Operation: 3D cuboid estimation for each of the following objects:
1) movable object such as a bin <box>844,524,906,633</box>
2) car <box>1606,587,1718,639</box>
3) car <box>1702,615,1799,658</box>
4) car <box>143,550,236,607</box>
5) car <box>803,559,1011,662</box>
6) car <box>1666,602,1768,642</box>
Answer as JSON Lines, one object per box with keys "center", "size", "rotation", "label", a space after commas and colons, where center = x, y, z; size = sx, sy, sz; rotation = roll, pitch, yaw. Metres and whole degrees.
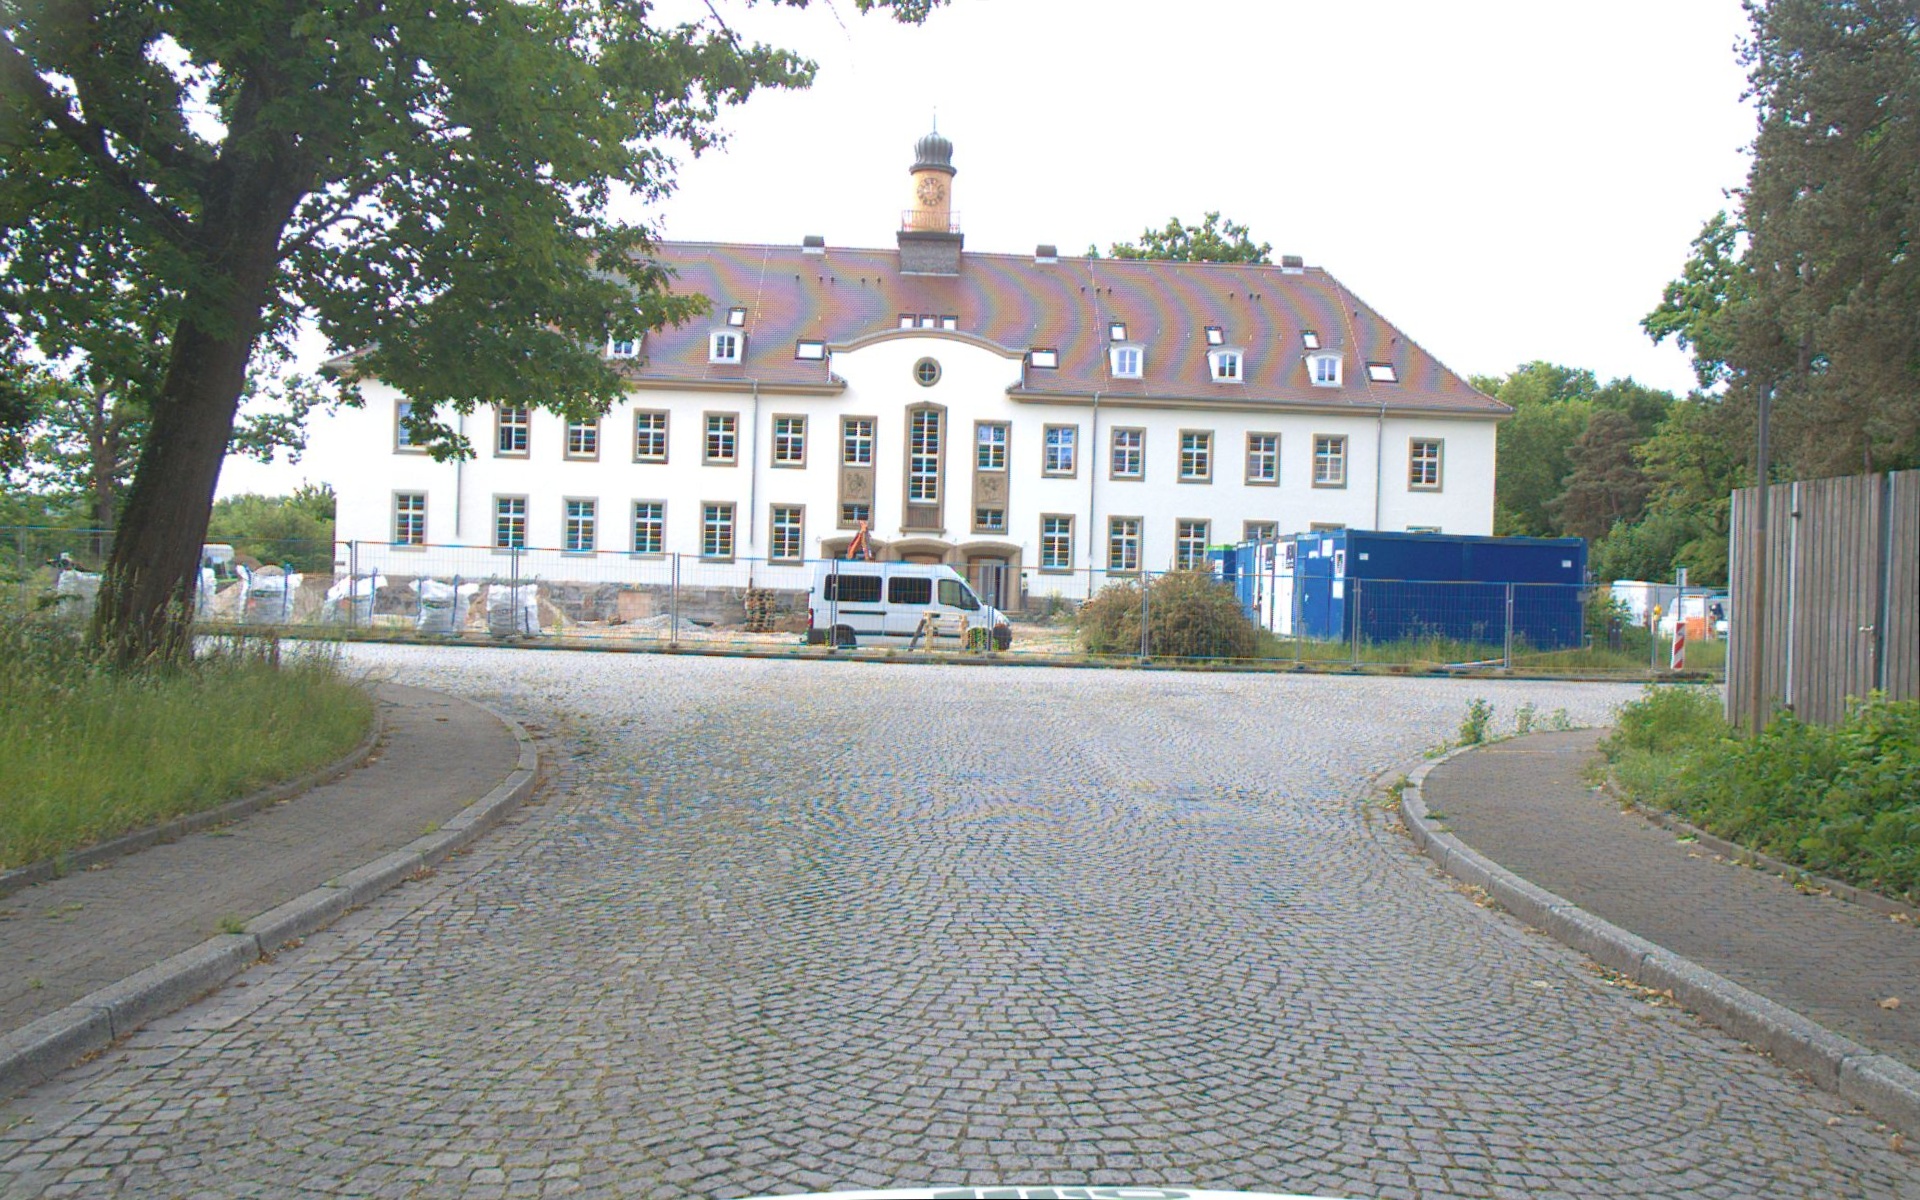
{"center": [-3.245, -0.779, 62.142], "size": [1.955, 3.837, 5.311], "rotation": [2, 0, -6], "label": "movable object such as a bin"}
{"center": [29.974, 0.566, 70.543], "size": [5.354, 2.078, 1.744], "rotation": [2, 0, -34], "label": "car"}
{"center": [30.666, 1.417, 64.130], "size": [3.938, 1.513, 1.603], "rotation": [2, 1, -34], "label": "car"}
{"center": [-31.531, -0.868, 67.822], "size": [2.029, 2.188, 4.890], "rotation": [2, 0, -8], "label": "car"}
{"center": [-1.332, 0.276, 42.521], "size": [5.156, 2.385, 1.910], "rotation": [2, 0, -1], "label": "car"}
{"center": [30.979, 0.914, 67.686], "size": [4.391, 1.528, 1.744], "rotation": [2, 0, -34], "label": "car"}
